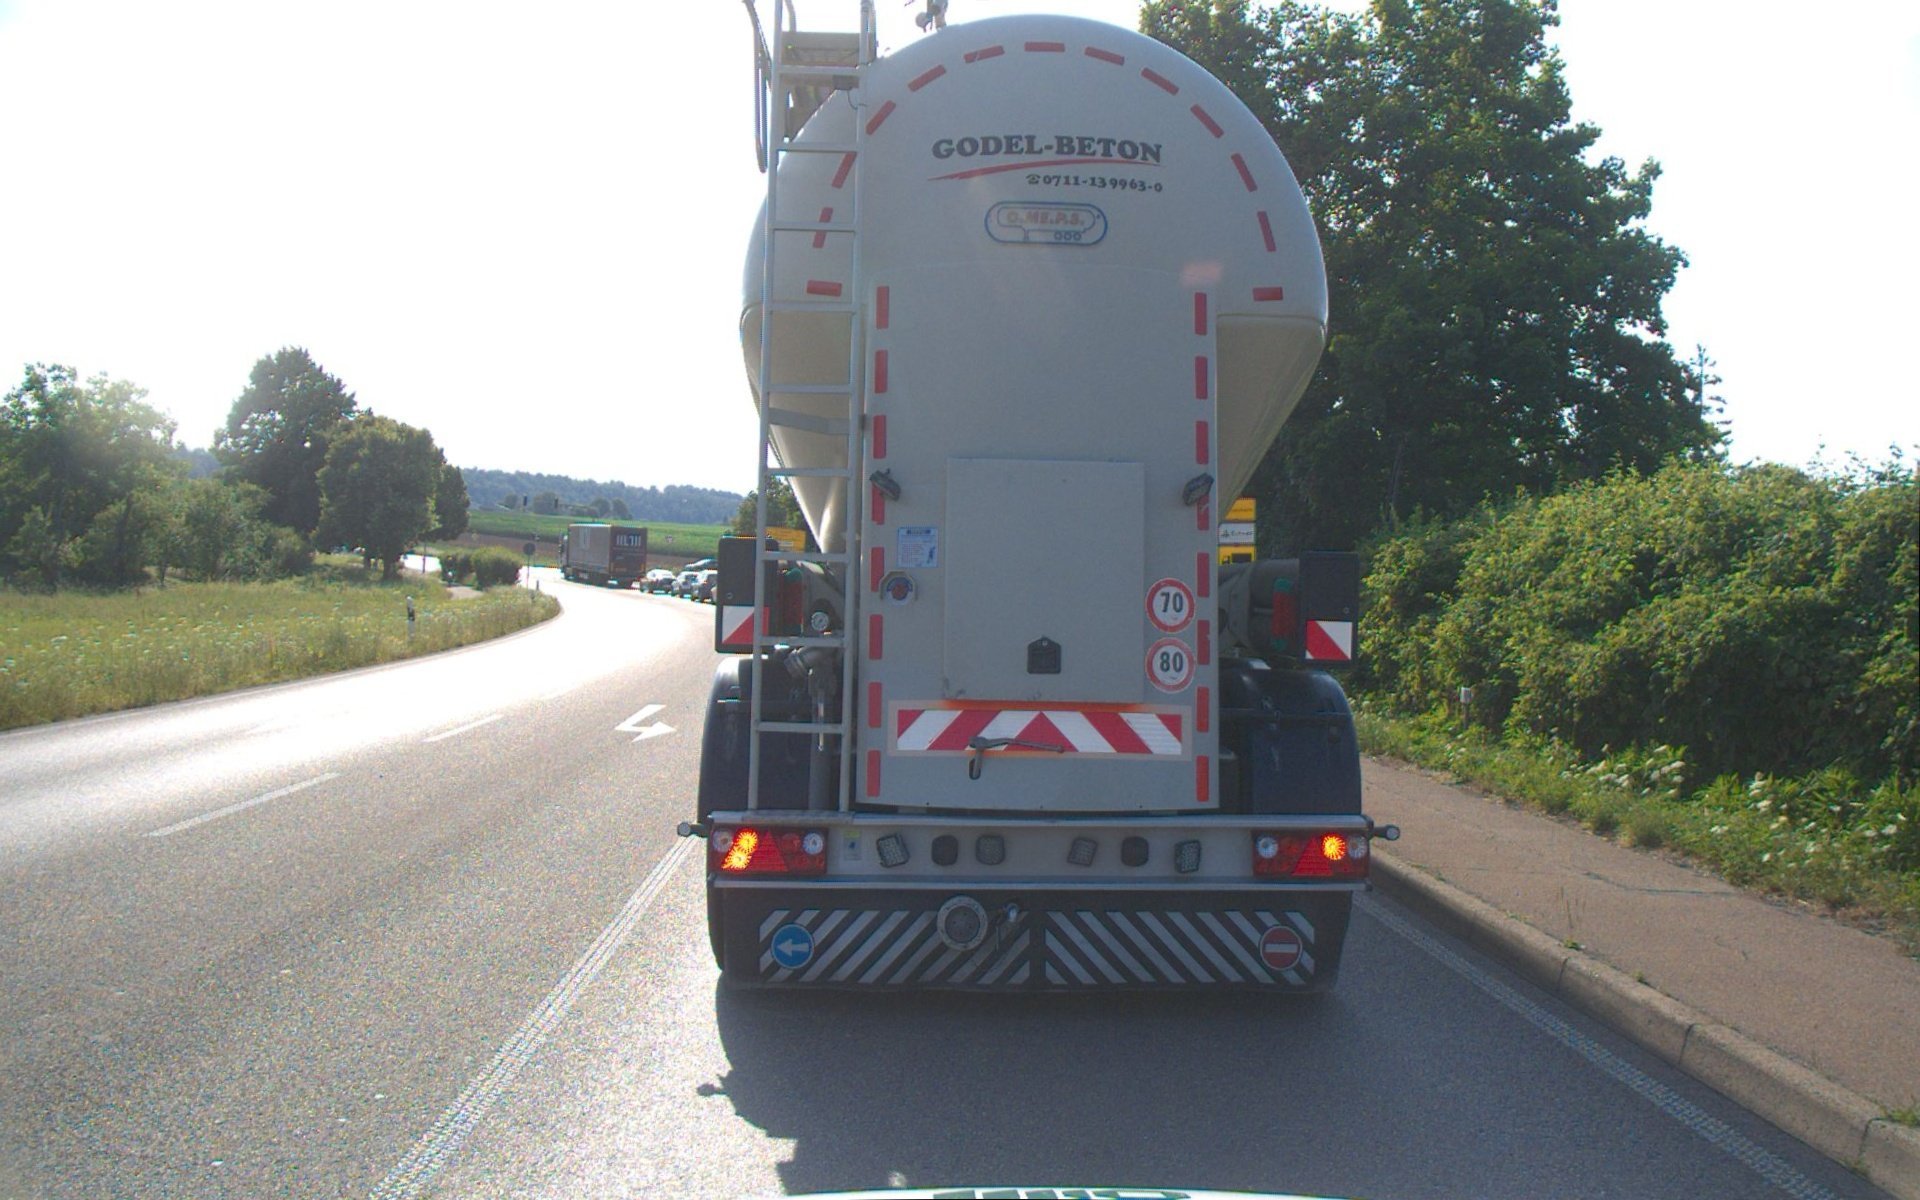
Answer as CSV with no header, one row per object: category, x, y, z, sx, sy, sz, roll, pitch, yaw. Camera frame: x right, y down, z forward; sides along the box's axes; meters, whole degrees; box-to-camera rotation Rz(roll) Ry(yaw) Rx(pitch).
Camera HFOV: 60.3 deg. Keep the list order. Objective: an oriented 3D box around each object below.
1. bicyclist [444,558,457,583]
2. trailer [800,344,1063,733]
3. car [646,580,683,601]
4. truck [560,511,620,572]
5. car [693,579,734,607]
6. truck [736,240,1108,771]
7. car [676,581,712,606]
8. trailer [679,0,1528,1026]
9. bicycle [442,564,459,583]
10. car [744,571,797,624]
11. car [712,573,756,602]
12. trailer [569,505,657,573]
bicyclist,-30.205,-1.770,98.061,0.623,1.444,0.689,3,0,-9
trailer,-0.403,-0.757,26.269,2.895,4.390,14.173,2,0,-1
car,-18.212,-0.612,101.808,1.742,1.226,3.408,-2,2,-18
truck,-28.383,-4.444,126.609,3.331,4.426,5.664,2,0,-24
car,-13.062,-0.378,87.496,1.556,1.364,3.408,2,0,-18
truck,-0.501,-0.719,14.900,2.854,4.076,4.054,1,0,-7
car,-15.389,-0.381,95.588,1.556,1.364,3.408,2,0,-18
trailer,-0.007,-0.656,10.491,2.854,4.076,9.916,1,0,-6
bicycle,-30.236,-1.554,98.169,0.623,1.093,1.667,3,0,-9
car,-7.698,-0.127,67.056,1.828,2.049,3.709,1,0,-11
car,-11.125,-0.627,81.314,1.556,1.364,3.408,2,0,-18
trailer,-25.149,-4.299,119.139,3.331,4.426,14.190,2,0,-23
